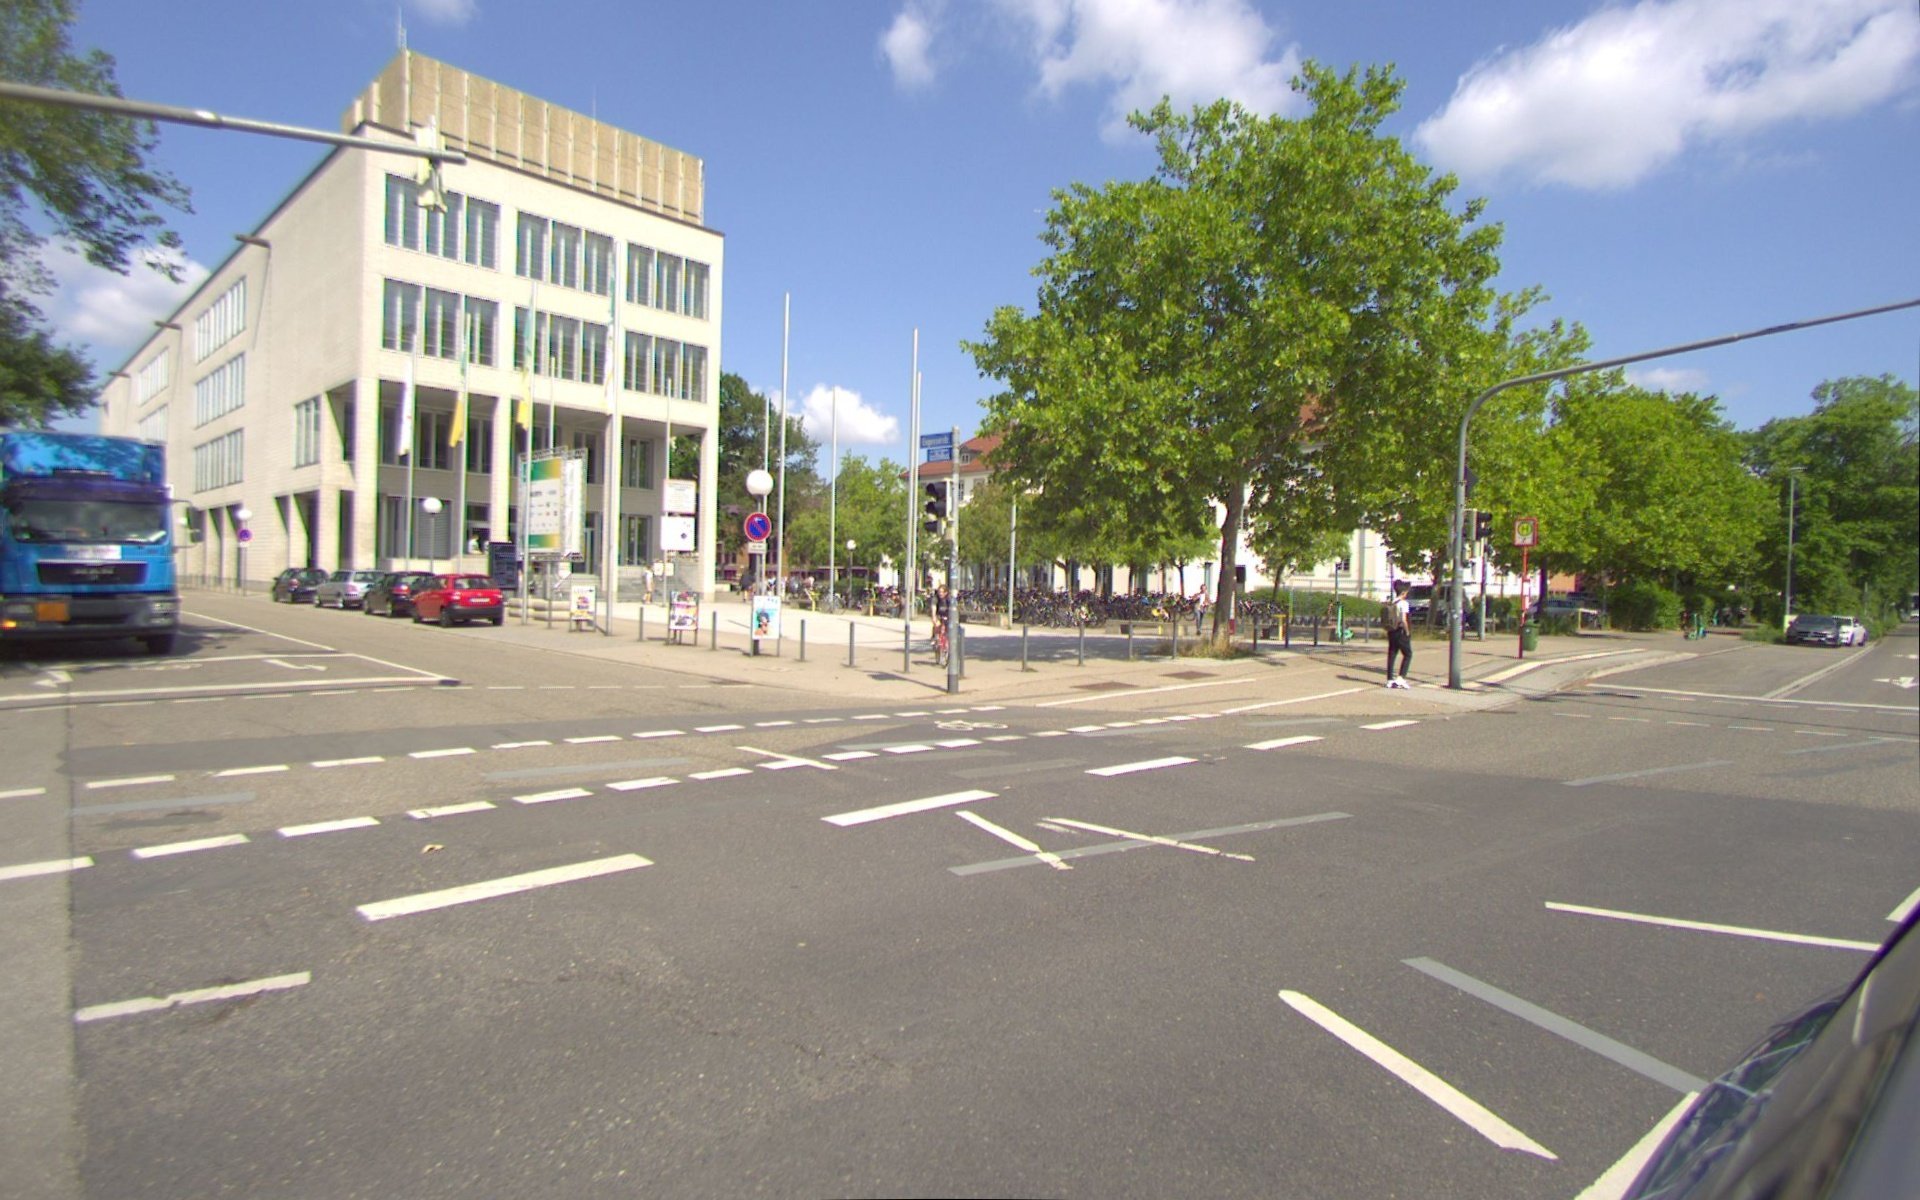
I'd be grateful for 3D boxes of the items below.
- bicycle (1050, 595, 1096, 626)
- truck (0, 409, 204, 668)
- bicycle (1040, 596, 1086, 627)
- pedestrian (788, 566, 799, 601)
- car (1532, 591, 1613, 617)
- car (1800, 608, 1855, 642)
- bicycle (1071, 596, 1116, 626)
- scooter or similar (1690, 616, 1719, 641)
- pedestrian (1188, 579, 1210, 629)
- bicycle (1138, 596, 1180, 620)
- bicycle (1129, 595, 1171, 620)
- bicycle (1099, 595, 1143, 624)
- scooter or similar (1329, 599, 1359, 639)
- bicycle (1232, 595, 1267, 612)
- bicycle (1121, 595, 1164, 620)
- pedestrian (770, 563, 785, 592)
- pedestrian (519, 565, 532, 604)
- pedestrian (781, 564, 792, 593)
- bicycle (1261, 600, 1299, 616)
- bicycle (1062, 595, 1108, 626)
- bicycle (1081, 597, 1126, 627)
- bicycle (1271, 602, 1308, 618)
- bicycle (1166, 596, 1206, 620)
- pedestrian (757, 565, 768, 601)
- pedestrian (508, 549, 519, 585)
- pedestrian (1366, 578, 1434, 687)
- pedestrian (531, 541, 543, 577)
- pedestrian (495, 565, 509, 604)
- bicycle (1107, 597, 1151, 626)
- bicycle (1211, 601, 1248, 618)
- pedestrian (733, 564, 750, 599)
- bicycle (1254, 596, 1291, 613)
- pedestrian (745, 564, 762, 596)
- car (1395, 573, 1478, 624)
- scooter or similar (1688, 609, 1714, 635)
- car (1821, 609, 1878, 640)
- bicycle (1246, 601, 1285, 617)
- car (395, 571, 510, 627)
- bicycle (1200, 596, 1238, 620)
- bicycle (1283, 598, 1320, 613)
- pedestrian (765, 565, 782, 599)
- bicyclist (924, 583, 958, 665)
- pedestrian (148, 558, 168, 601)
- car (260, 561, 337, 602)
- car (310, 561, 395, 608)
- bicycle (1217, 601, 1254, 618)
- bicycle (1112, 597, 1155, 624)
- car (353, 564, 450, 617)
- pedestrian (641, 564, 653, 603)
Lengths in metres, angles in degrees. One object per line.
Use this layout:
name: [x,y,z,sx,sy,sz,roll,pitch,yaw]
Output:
bicycle: [4.296,0.400,38.403,1.666,1.111,0.617,2,1,41]
truck: [-17.540,-1.149,19.733,10.108,3.929,2.737,3,3,43]
bicycle: [3.844,0.417,37.933,1.666,1.111,0.617,2,1,41]
pedestrian: [-9.002,-0.883,54.674,0.503,1.870,0.535,1,0,-13]
car: [36.359,0.212,60.084,3.978,1.442,1.734,2,1,37]
car: [38.784,1.083,45.211,1.704,1.345,3.939,5,3,42]
bicycle: [5.194,0.424,39.452,1.666,1.111,0.617,2,1,41]
scooter or similar: [33.265,1.257,45.215,1.342,1.084,0.519,1,0,-29]
pedestrian: [8.132,0.114,34.476,0.628,1.670,0.741,1,0,8]
bicycle: [8.563,0.346,43.574,1.666,0.977,0.617,2,1,41]
bicycle: [8.094,0.318,43.089,1.666,0.984,0.617,2,1,41]
bicycle: [6.464,0.368,40.692,1.666,1.111,0.617,2,1,41]
scooter or similar: [11.291,0.556,29.736,1.148,1.143,0.347,1,0,-44]
bicycle: [14.920,0.175,52.160,1.666,0.800,0.617,2,1,41]
bicycle: [7.676,0.310,42.564,1.666,0.997,0.617,2,1,41]
pedestrian: [-11.891,-1.463,65.830,0.691,1.871,0.634,1,0,41]
pedestrian: [-18.681,-0.663,43.506,0.397,1.669,0.385,1,0,-42]
pedestrian: [-11.352,-1.381,66.225,0.500,1.871,0.491,1,0,41]
bicycle: [15.946,0.388,50.446,1.666,0.743,0.617,2,1,41]
bicycle: [4.798,0.396,38.887,1.666,1.111,0.617,2,1,41]
bicycle: [5.668,0.460,39.990,1.666,1.111,0.617,2,1,41]
bicycle: [16.583,0.515,50.976,1.666,0.743,0.617,2,1,41]
bicycle: [10.139,0.357,45.463,1.666,1.041,0.617,2,1,41]
pedestrian: [-10.359,-0.885,52.974,0.503,1.870,0.535,1,0,-13]
pedestrian: [-20.722,-1.530,46.965,0.379,1.669,0.404,1,0,-41]
pedestrian: [7.840,0.547,18.035,0.926,1.847,0.700,0,4,-44]
pedestrian: [-20.174,-1.949,48.245,0.398,1.669,0.385,1,0,-44]
pedestrian: [-19.843,-0.667,43.845,0.397,1.669,0.385,1,0,-42]
bicycle: [6.872,0.448,41.225,1.666,1.111,0.617,2,1,41]
bicycle: [13.400,0.478,50.372,1.665,0.800,0.618,2,1,39]
pedestrian: [-11.815,-1.016,54.769,0.787,1.871,0.696,1,0,-18]
bicycle: [15.403,0.218,49.922,1.666,0.743,0.617,2,1,41]
pedestrian: [-11.897,-1.152,58.263,0.690,1.871,0.635,1,0,34]
car: [20.747,-0.070,43.948,1.992,2.039,4.829,2,1,41]
scooter or similar: [32.122,0.948,43.876,1.414,1.091,0.518,1,0,-37]
car: [43.082,1.166,48.990,3.931,1.359,1.559,1,3,-42]
bicycle: [14.874,0.431,49.288,1.666,0.743,0.617,2,1,41]
car: [-14.963,-0.070,29.744,3.985,1.497,1.696,2,3,42]
bicycle: [12.591,0.376,49.169,1.666,1.111,0.617,2,1,41]
bicycle: [17.419,0.275,51.594,1.666,0.743,0.617,2,1,41]
pedestrian: [-10.424,-1.018,56.612,0.690,1.871,0.635,1,0,34]
bicyclist: [-0.377,0.439,19.292,0.600,1.526,0.920,1,0,-2]
pedestrian: [-29.648,-0.746,37.418,0.372,1.576,0.474,1,0,38]
car: [-27.403,-0.776,41.876,3.986,1.588,1.782,2,1,43]
car: [-22.430,-0.604,37.297,3.989,1.633,1.756,2,1,45]
bicycle: [13.862,0.477,50.958,1.665,0.800,0.618,2,1,39]
bicycle: [7.200,0.431,42.074,1.666,1.048,0.617,2,1,41]
car: [-18.484,-0.347,33.450,3.989,1.633,1.756,2,1,45]
pedestrian: [-14.651,-0.775,47.403,0.432,1.830,0.486,1,0,-11]
